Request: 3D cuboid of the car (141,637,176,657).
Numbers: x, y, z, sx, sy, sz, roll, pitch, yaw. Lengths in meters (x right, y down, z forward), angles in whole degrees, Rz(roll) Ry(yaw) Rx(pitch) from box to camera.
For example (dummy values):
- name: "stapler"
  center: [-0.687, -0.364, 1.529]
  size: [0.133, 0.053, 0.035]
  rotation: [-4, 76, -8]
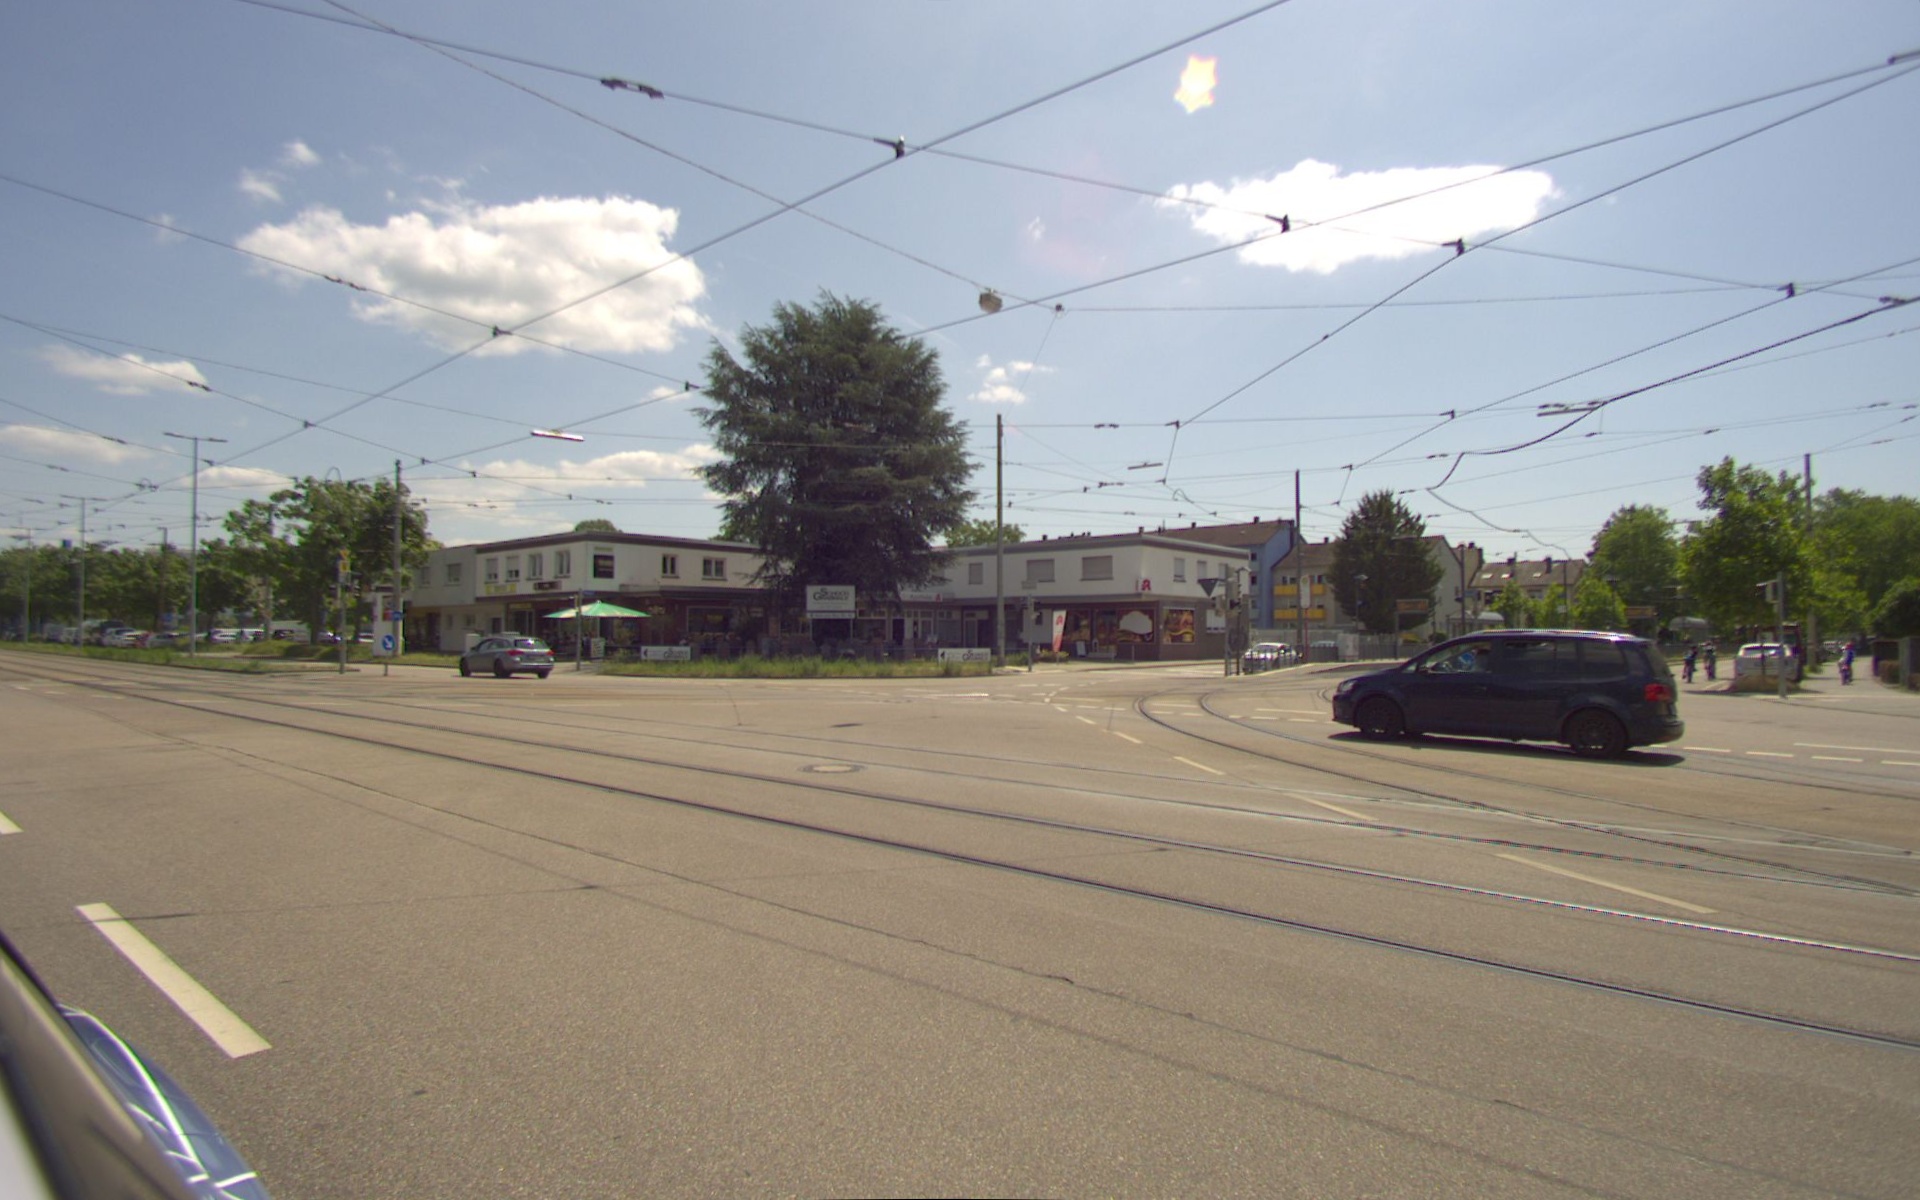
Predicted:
- name: "car"
  center: [-66.587, 3.907, 84.022]
  size: [4.550, 1.551, 1.559]
  rotation: [-1, -1, 42]

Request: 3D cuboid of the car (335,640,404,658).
- name: "car"
  center: [-47.392, 3.929, 81.242]
  size: [1.907, 1.445, 4.424]
  rotation: [-2, -4, 43]

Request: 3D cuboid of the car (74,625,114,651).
- name: "car"
  center: [-89.371, 3.876, 104.465]
  size: [6.700, 2.631, 2.128]
  rotation: [-1, -1, 40]

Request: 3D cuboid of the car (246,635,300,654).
- name: "car"
  center: [-65.253, 4.236, 96.171]
  size: [1.803, 1.750, 3.944]
  rotation: [-2, -4, 41]

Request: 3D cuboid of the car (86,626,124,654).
- name: "car"
  center: [-83.491, 3.835, 98.844]
  size: [5.031, 2.631, 2.128]
  rotation: [-1, -1, 41]

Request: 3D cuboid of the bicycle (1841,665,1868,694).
- name: "bicycle"
  center: [31.047, 2.764, 35.155]
  size: [0.671, 0.942, 2.226]
  rotation: [-1, -5, 41]

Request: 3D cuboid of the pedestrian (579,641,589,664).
- name: "pedestrian"
  center: [-21.245, 2.957, 57.178]
  size: [0.452, 1.278, 0.337]
  rotation: [-3, -4, 44]

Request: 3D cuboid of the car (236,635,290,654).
- name: "car"
  center: [-69.002, 4.389, 100.217]
  size: [1.803, 1.749, 3.944]
  rotation: [-1, -5, 42]

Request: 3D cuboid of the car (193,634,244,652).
- name: "car"
  center: [-81.547, 4.734, 111.378]
  size: [1.803, 1.749, 4.144]
  rotation: [-1, -5, 42]

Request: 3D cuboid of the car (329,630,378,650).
- name: "car"
  center: [-71.983, 4.758, 120.202]
  size: [1.849, 2.242, 4.594]
  rotation: [-1, -4, 38]

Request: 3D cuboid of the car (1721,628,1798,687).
- name: "car"
  center: [28.141, 2.003, 35.607]
  size: [1.998, 1.927, 3.947]
  rotation: [-2, -4, 39]

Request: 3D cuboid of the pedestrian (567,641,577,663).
- name: "pedestrian"
  center: [-22.373, 2.977, 58.366]
  size: [0.400, 1.256, 0.382]
  rotation: [-2, -4, 42]

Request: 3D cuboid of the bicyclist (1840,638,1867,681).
- name: "bicyclist"
  center: [31.040, 2.063, 35.152]
  size: [0.656, 1.479, 0.837]
  rotation: [-1, -5, 42]

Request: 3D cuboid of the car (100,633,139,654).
- name: "car"
  center: [-78.964, 4.086, 95.041]
  size: [4.886, 1.851, 2.128]
  rotation: [-1, -1, 41]

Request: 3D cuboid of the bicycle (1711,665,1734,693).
- name: "bicycle"
  center: [31.756, 3.306, 42.120]
  size: [0.517, 1.109, 2.225]
  rotation: [-1, -5, 43]

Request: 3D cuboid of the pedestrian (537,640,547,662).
- name: "pedestrian"
  center: [-24.397, 2.998, 59.072]
  size: [0.532, 1.278, 0.349]
  rotation: [-2, -4, 42]

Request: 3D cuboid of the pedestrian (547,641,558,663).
- name: "pedestrian"
  center: [-23.487, 2.991, 58.312]
  size: [0.528, 1.278, 0.340]
  rotation: [-3, -4, 44]

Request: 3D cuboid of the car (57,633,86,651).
- name: "car"
  center: [-100.798, 4.726, 114.781]
  size: [4.485, 1.953, 1.772]
  rotation: [-1, -1, 40]

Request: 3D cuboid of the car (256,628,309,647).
- name: "car"
  center: [-93.793, 5.184, 140.139]
  size: [2.257, 2.500, 5.627]
  rotation: [-2, -3, 38]

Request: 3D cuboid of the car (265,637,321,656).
- name: "car"
  center: [-61.263, 4.266, 92.979]
  size: [1.878, 1.750, 3.944]
  rotation: [-2, -4, 42]

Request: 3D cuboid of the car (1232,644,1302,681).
- name: "car"
  center: [15.342, 3.128, 50.455]
  size: [1.899, 1.738, 3.800]
  rotation: [-1, -5, 42]

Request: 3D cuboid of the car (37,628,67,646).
- name: "car"
  center: [-110.049, 4.431, 122.655]
  size: [4.485, 2.117, 2.045]
  rotation: [-1, -1, 40]

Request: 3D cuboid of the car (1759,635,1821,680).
- name: "car"
  center: [39.618, 2.737, 48.278]
  size: [2.000, 2.029, 3.943]
  rotation: [-2, -4, 43]

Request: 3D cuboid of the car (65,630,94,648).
- name: "car"
  center: [-95.900, 4.232, 110.216]
  size: [4.647, 1.953, 1.771]
  rotation: [-1, -1, 42]

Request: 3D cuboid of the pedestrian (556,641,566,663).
- name: "pedestrian"
  center: [-22.693, 2.965, 57.575]
  size: [0.501, 1.278, 0.315]
  rotation: [-2, -4, 42]

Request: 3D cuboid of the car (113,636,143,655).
- name: "car"
  center: [-74.197, 4.058, 90.263]
  size: [4.358, 1.551, 1.483]
  rotation: [-1, -1, 42]

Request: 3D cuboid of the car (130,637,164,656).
- name: "car"
  center: [-70.350, 4.025, 87.542]
  size: [3.644, 1.551, 1.485]
  rotation: [-1, -1, 38]

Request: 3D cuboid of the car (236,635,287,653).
- name: "car"
  center: [-70.610, 4.458, 102.342]
  size: [1.902, 1.750, 3.944]
  rotation: [-2, -4, 42]

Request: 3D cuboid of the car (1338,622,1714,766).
- name: "car"
  center: [7.698, 1.199, 14.025]
  size: [4.277, 1.696, 1.705]
  rotation: [-2, -3, 41]

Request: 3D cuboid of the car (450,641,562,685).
- name: "car"
  center: [-16.343, 2.229, 36.331]
  size: [4.398, 1.483, 1.973]
  rotation: [-2, -4, 41]

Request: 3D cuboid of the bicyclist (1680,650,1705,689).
- name: "bicyclist"
  center: [27.860, 2.657, 38.498]
  size: [0.631, 1.433, 0.950]
  rotation: [-2, -5, 44]

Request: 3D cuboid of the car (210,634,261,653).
- name: "car"
  center: [-75.447, 4.556, 105.444]
  size: [1.803, 1.749, 3.944]
  rotation: [-1, -5, 42]
